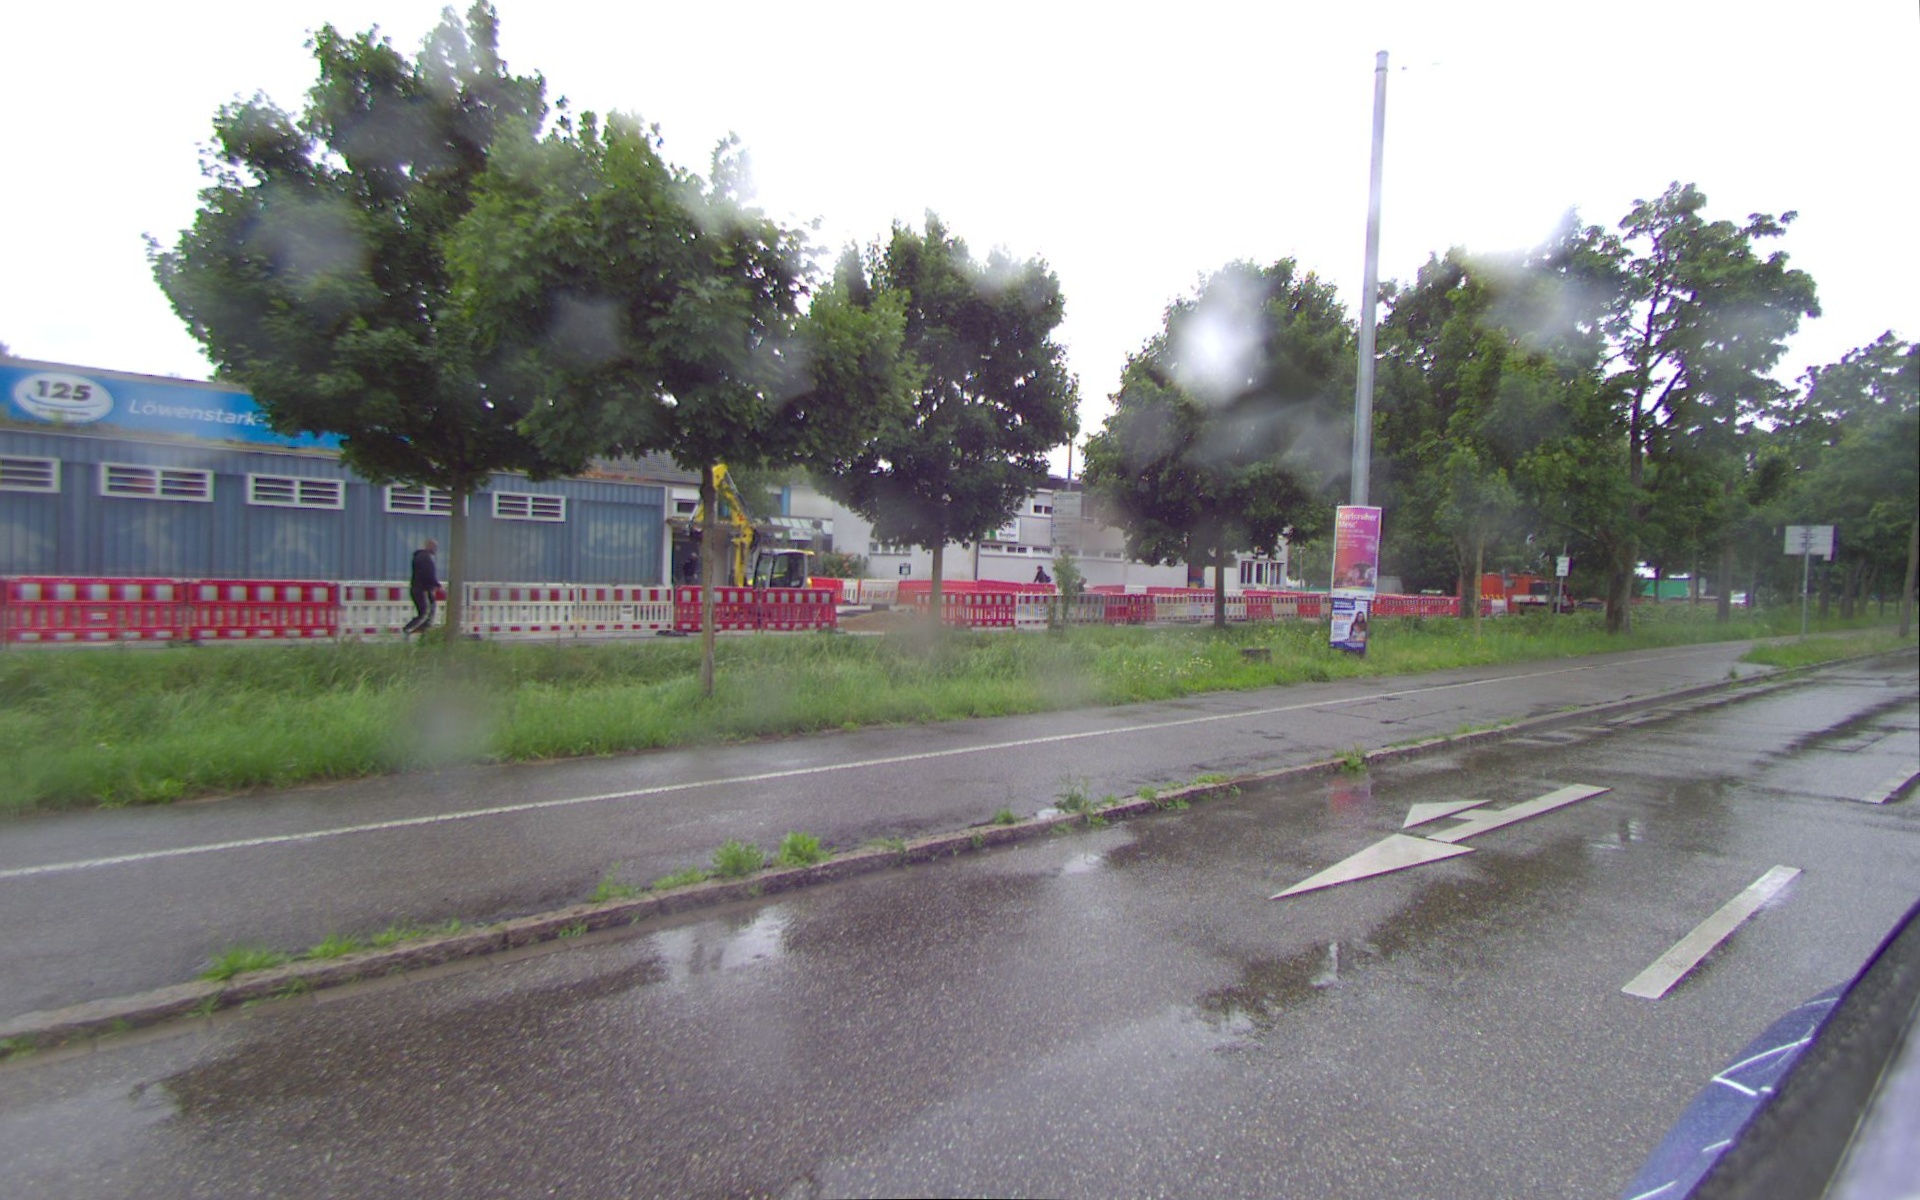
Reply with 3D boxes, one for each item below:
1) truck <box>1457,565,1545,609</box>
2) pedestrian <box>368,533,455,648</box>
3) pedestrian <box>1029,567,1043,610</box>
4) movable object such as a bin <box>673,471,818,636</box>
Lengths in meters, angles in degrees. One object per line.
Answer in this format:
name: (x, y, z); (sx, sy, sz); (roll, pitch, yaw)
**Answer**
truck: (38.311, -0.892, 71.520); (8.602, 2.935, 2.807); (-1, 0, -43)
pedestrian: (-9.713, -0.169, 17.931); (1.192, 1.960, 0.813); (0, 0, -43)
pedestrian: (3.309, -0.519, 44.066); (0.487, 1.864, 0.363); (0, 1, -41)
movable object such as a bin: (-6.176, -1.290, 29.390); (3.840, 4.482, 1.556); (-1, 0, -41)
